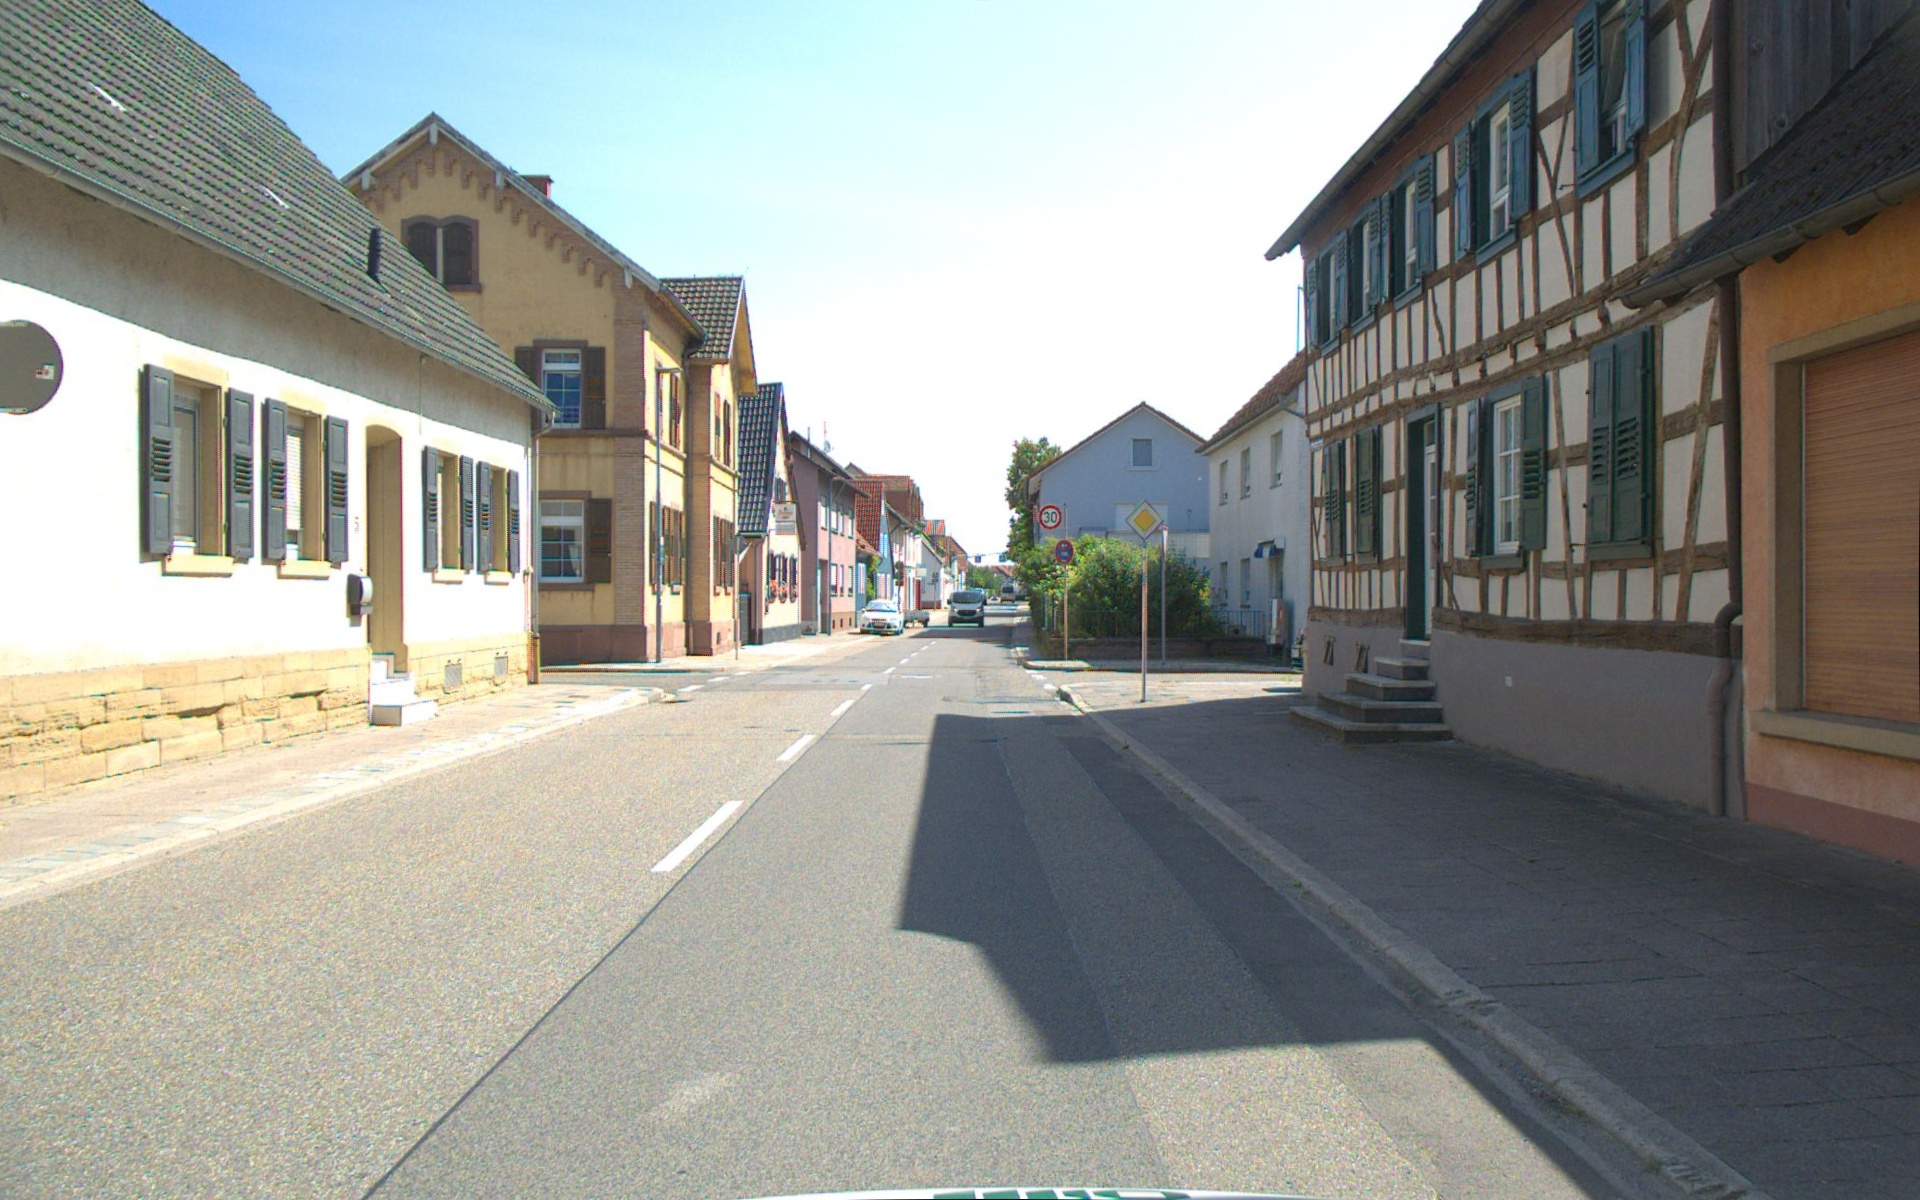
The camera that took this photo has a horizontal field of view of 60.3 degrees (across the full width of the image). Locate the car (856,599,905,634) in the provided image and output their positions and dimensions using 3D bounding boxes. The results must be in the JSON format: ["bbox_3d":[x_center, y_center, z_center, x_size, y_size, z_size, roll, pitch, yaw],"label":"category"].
[{"bbox_3d":[-3.495,0.715,73.650,1.953,1.467,4.000,-1,0,0],"label":"car"}]

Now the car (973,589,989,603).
[{"bbox_3d":[2.519,-0.487,200.867,1.829,1.571,3.838,-1,0,0],"label":"car"}]

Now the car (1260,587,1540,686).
[{"bbox_3d":[6.986,0.551,26.535,3.908,1.467,1.998,-1,0,-4],"label":"car"}]

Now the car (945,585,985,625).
[{"bbox_3d":[0.264,0.325,91.481,2.114,2.116,3.999,-1,-1,-1],"label":"car"}]

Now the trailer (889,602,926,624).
[{"bbox_3d":[-2.861,0.701,90.429,1.953,1.109,3.999,-1,0,-1],"label":"trailer"}]

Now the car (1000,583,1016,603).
[{"bbox_3d":[6.475,-0.927,224.483,1.976,2.612,4.000,-1,0,0],"label":"car"}]
